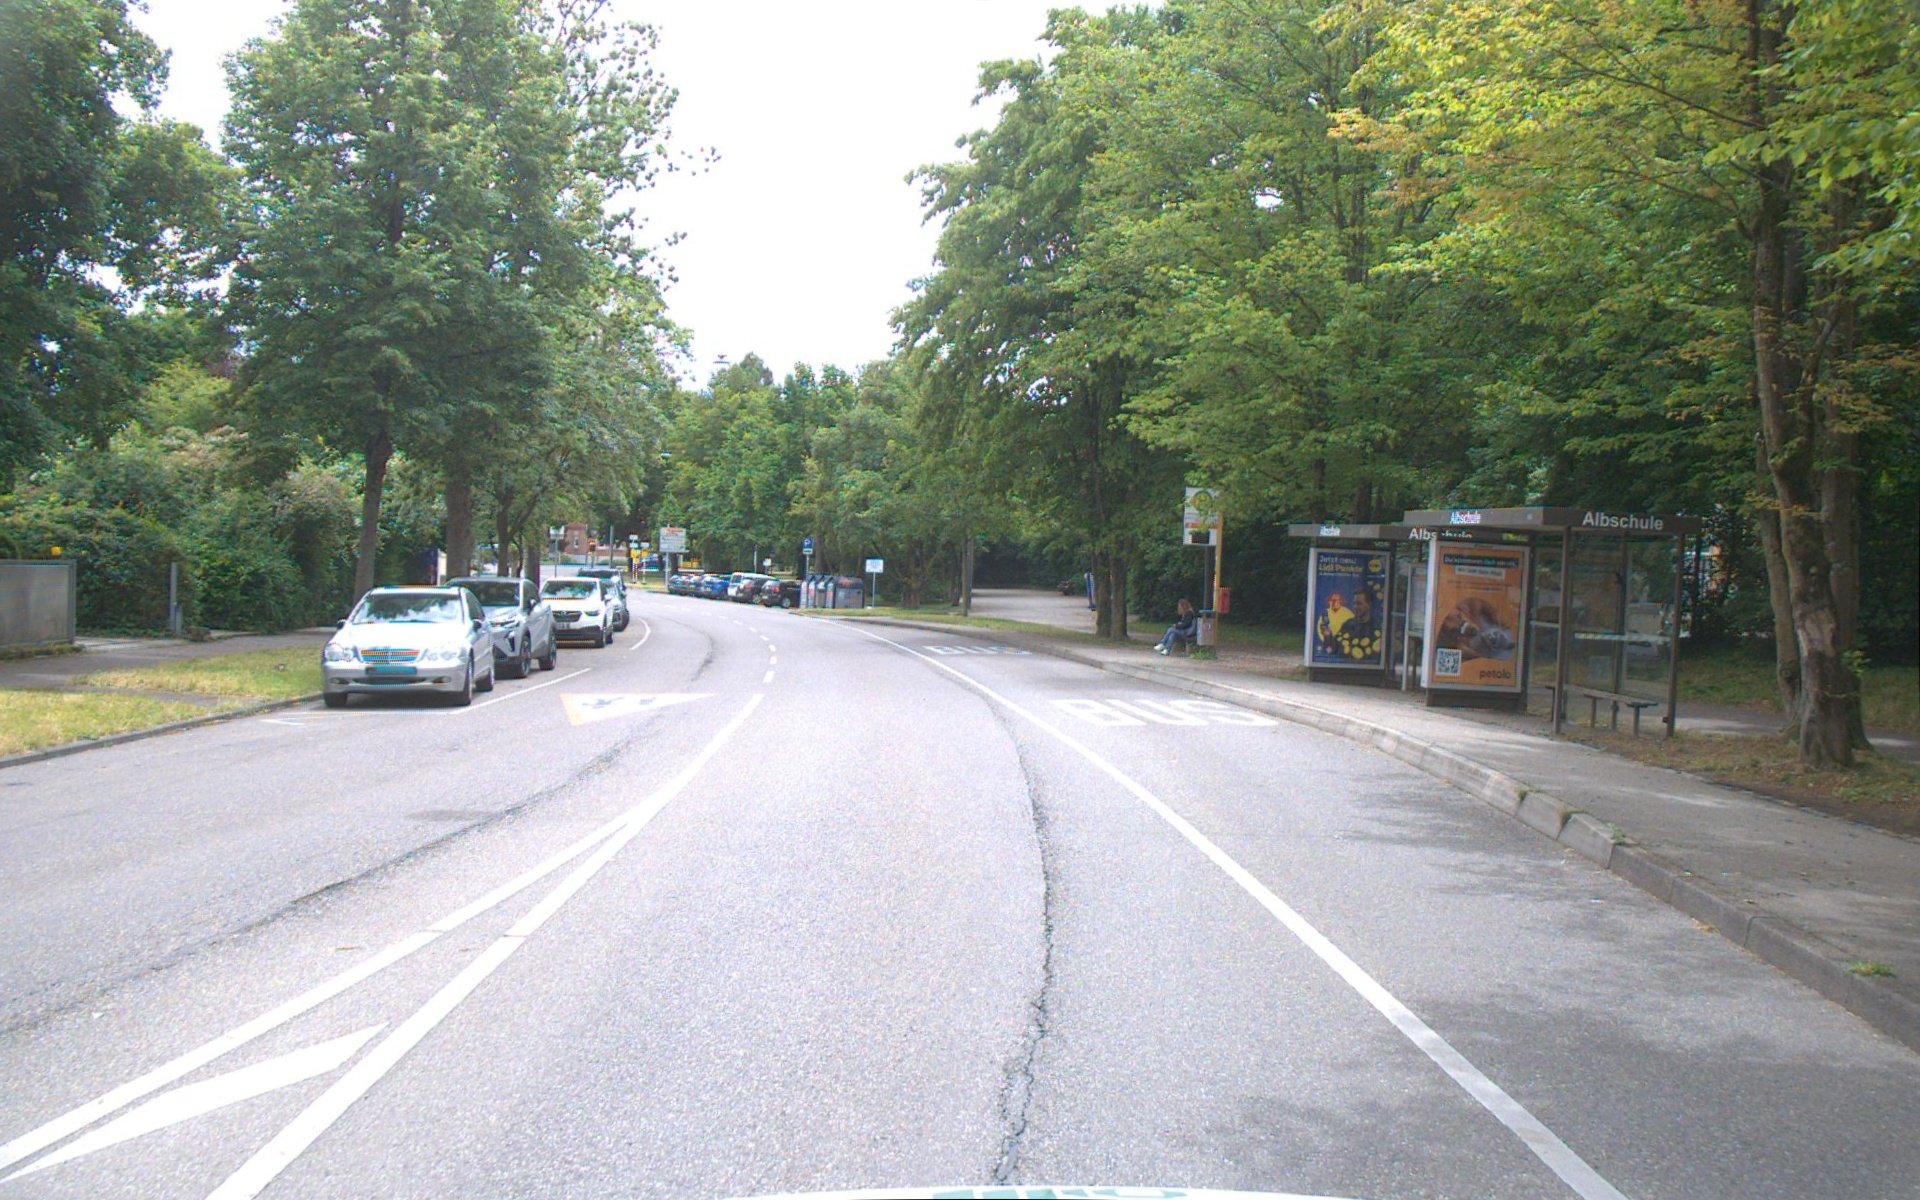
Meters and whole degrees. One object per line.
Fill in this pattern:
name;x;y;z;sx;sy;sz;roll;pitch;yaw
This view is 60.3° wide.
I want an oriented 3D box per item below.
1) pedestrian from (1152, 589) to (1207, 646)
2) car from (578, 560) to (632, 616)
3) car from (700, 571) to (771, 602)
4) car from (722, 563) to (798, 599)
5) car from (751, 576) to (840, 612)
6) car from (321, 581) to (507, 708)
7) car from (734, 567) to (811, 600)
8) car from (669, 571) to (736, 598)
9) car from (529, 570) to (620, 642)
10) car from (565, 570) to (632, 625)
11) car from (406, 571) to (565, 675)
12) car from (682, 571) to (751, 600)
pedestrian;4.730;0.365;35.630;1.044;1.203;0.579;1;1;-10
car;-12.962;-0.455;60.304;1.825;1.942;5.067;1;1;-12
car;-13.345;-0.803;98.254;3.792;1.555;1.723;4;-1;-38
car;-11.336;-1.072;93.932;3.792;1.750;1.853;4;-1;-38
car;-8.285;-0.307;83.343;3.959;1.438;2.031;4;1;-38
car;-6.975;0.489;21.540;1.704;1.441;4.461;0;1;-11
car;-10.332;-0.898;91.198;3.792;1.493;1.723;4;0;-38
car;-16.451;-0.973;105.689;3.846;1.451;1.805;4;-1;-38
car;-9.027;0.089;38.986;1.703;1.606;4.135;0;1;-8
car;-10.976;-0.099;50.414;1.832;1.565;4.217;1;1;-11
car;-7.686;0.309;27.148;1.701;1.565;4.186;0;1;-5
car;-15.128;-0.916;102.811;3.792;1.555;1.723;4;-1;-38
